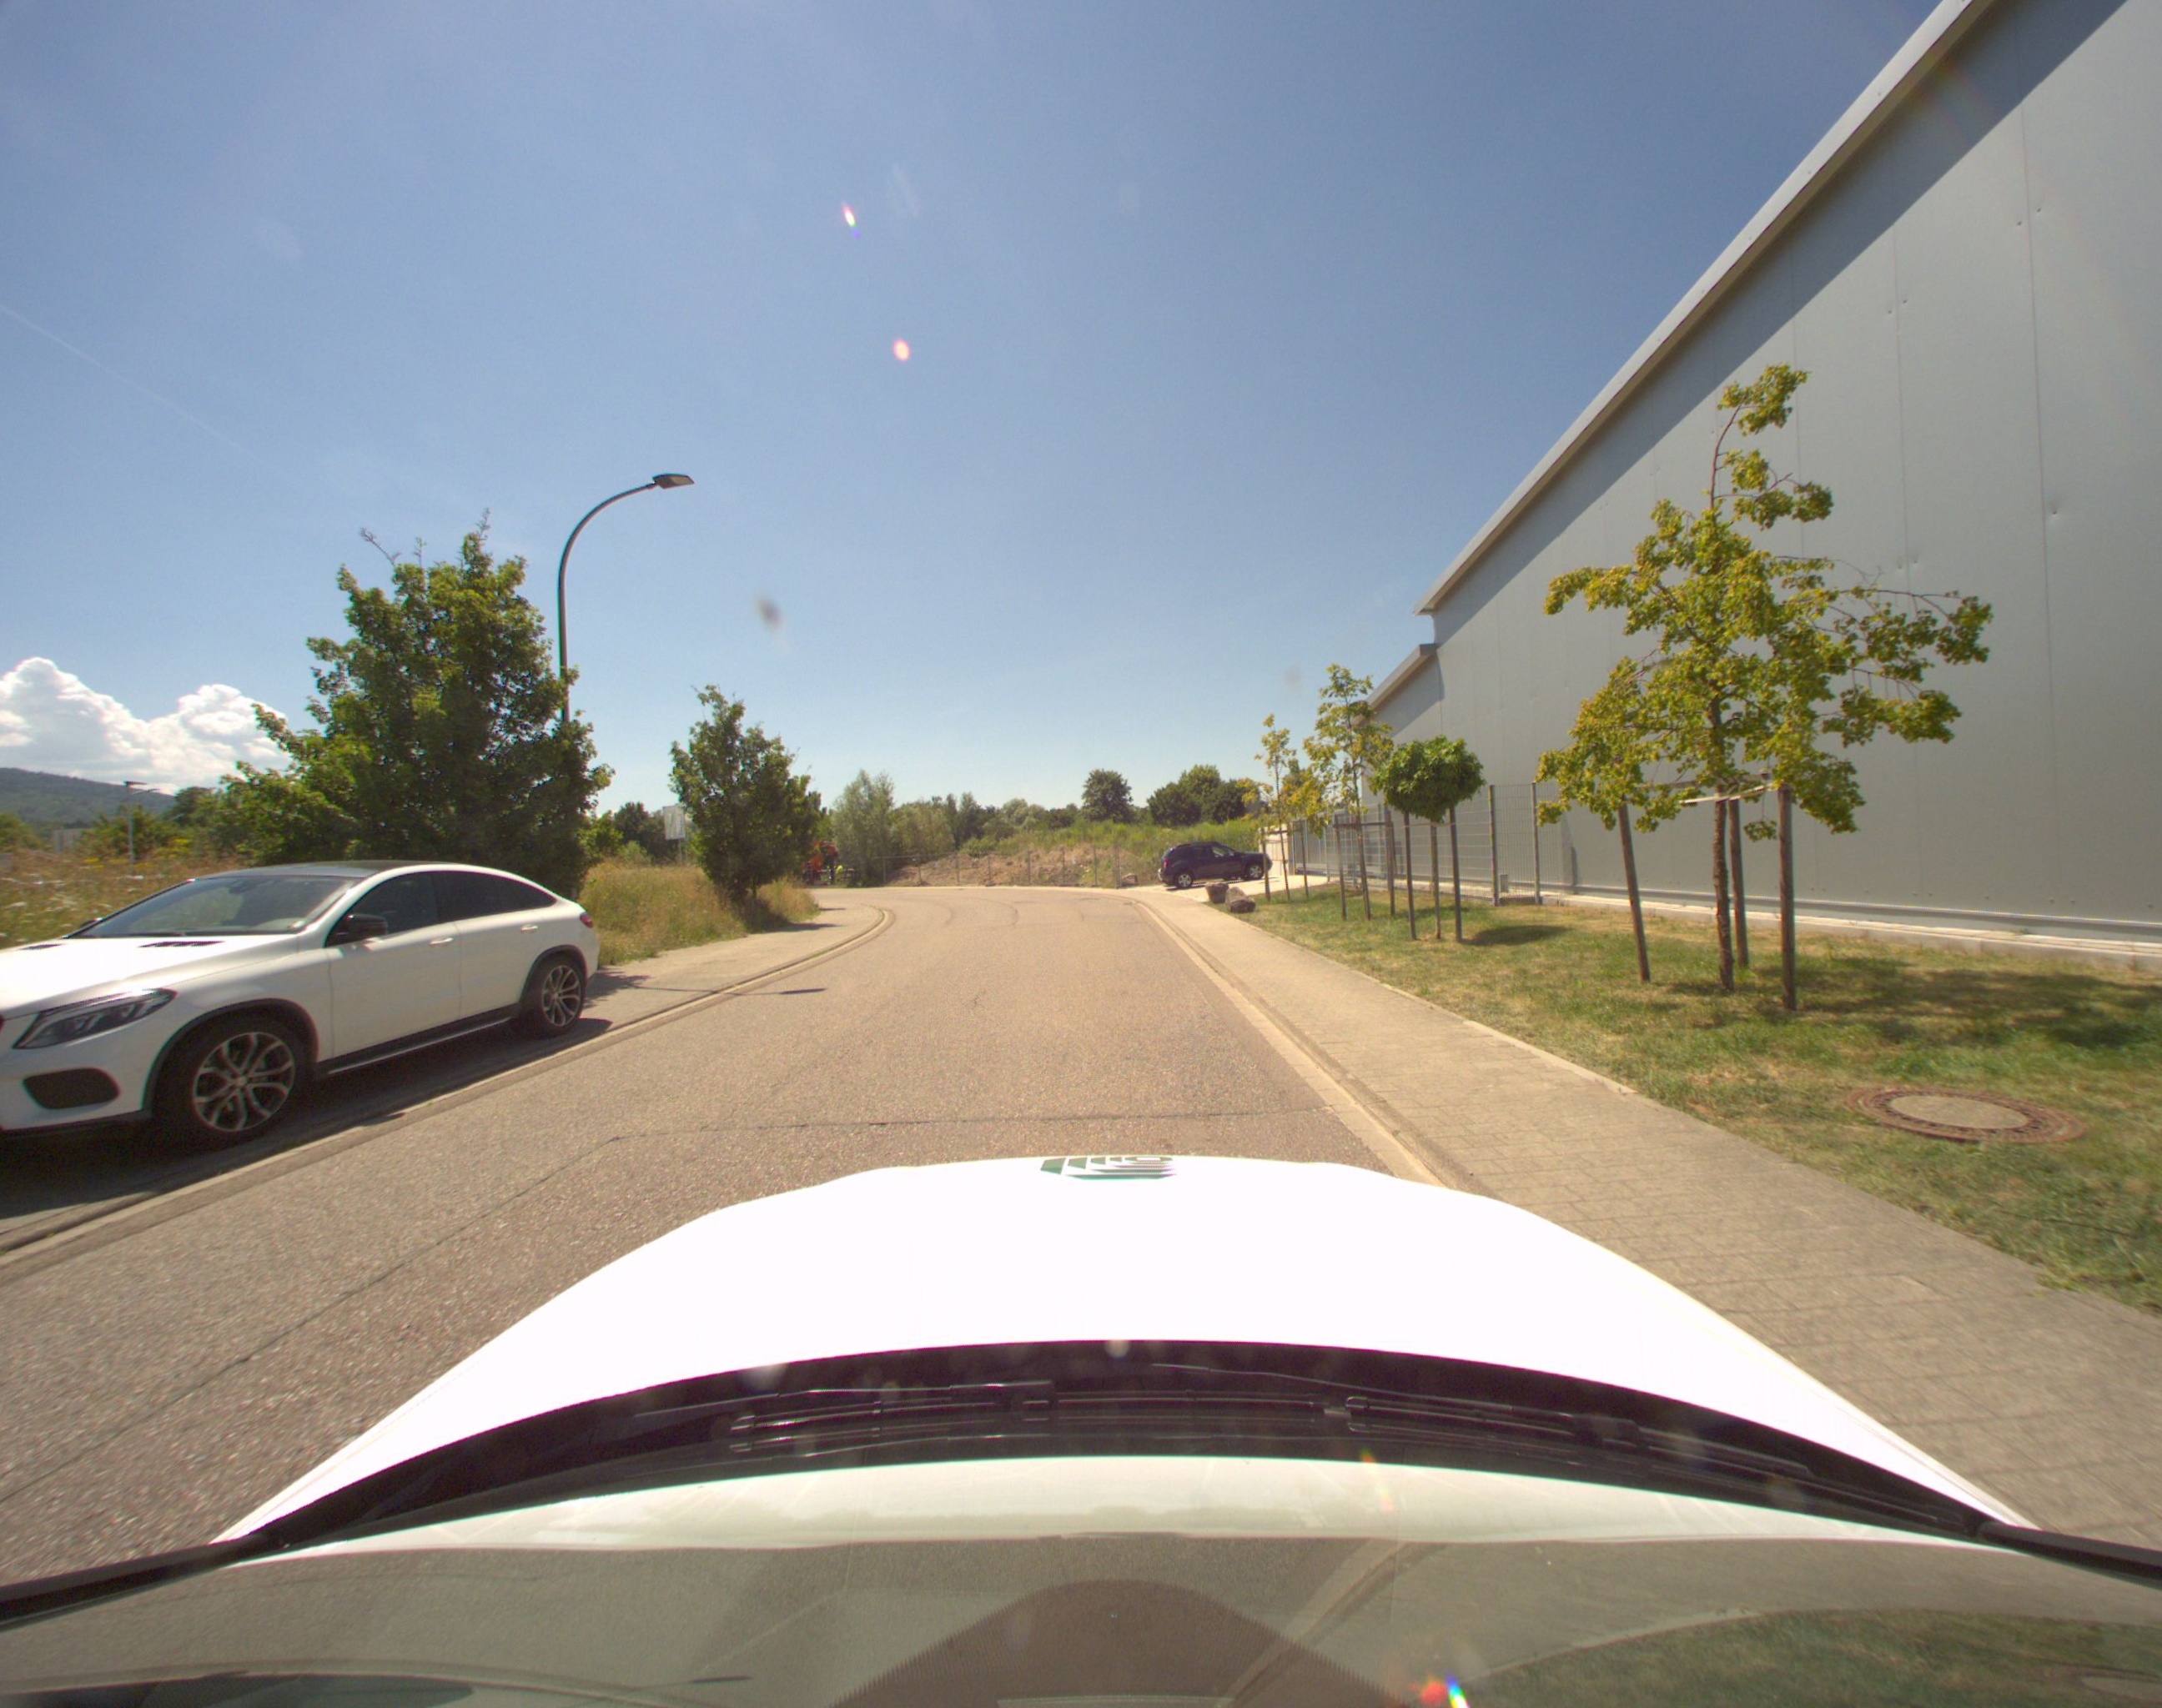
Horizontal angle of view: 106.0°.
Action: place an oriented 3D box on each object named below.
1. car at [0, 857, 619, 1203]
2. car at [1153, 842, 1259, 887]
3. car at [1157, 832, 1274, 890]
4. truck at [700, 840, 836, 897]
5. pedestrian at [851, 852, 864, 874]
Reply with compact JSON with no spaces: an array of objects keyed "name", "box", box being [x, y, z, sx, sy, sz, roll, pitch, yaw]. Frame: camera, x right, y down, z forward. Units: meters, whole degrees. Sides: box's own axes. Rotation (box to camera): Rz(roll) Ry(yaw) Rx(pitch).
[{"name":"car","box":[-5.962,0.890,6.369,1.906,1.655,4.755,-1,0,0]},{"name":"car","box":[5.138,0.405,33.796,3.998,1.462,1.892,-5,0,-1]},{"name":"car","box":[5.086,0.262,31.200,3.998,1.655,1.858,-7,0,0]},{"name":"truck","box":[-23.719,1.049,62.207,8.563,3.806,4.160,-3,0,-3]},{"name":"pedestrian","box":[-19.037,0.728,69.387,0.873,1.825,0.739,-2,0,-1]}]
